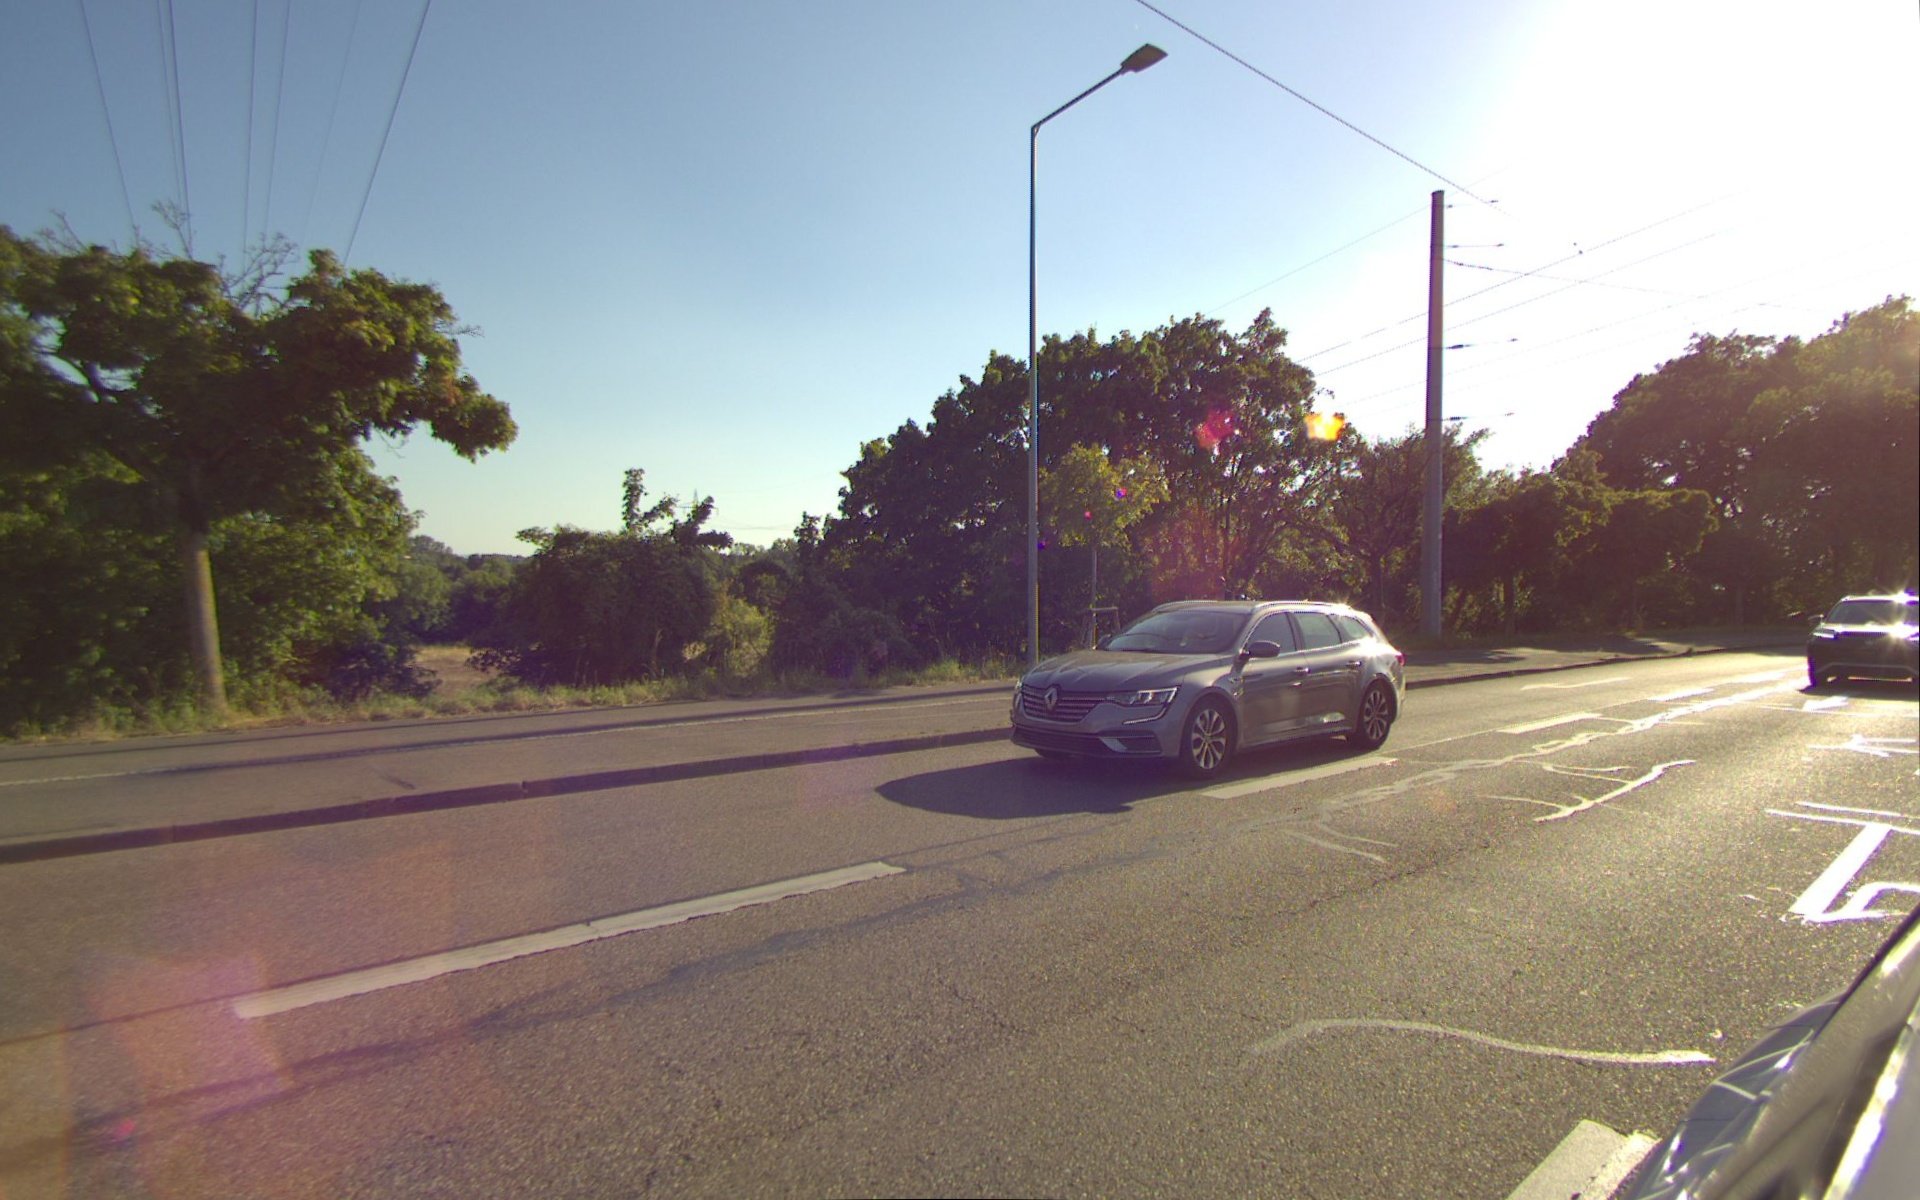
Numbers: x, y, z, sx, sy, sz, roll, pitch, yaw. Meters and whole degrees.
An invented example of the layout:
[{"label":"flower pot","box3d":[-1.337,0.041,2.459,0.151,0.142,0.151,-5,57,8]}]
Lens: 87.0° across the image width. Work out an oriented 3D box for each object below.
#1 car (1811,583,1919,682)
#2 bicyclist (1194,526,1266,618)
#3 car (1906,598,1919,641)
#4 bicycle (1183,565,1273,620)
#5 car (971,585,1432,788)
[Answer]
[{"label":"car","box3d":[17.306,0.512,18.569,4.339,1.620,1.880,-1,1,-40]},{"label":"bicyclist","box3d":[4.559,-0.482,17.056,1.042,1.488,0.628,-1,4,-41]},{"label":"car","box3d":[34.599,0.656,35.338,3.931,1.430,1.873,-1,1,-41]},{"label":"bicycle","box3d":[4.519,-0.142,17.037,1.606,0.844,0.628,-1,5,-41]},{"label":"car","box3d":[2.459,0.609,9.613,4.576,1.461,1.881,-1,1,-39]}]
